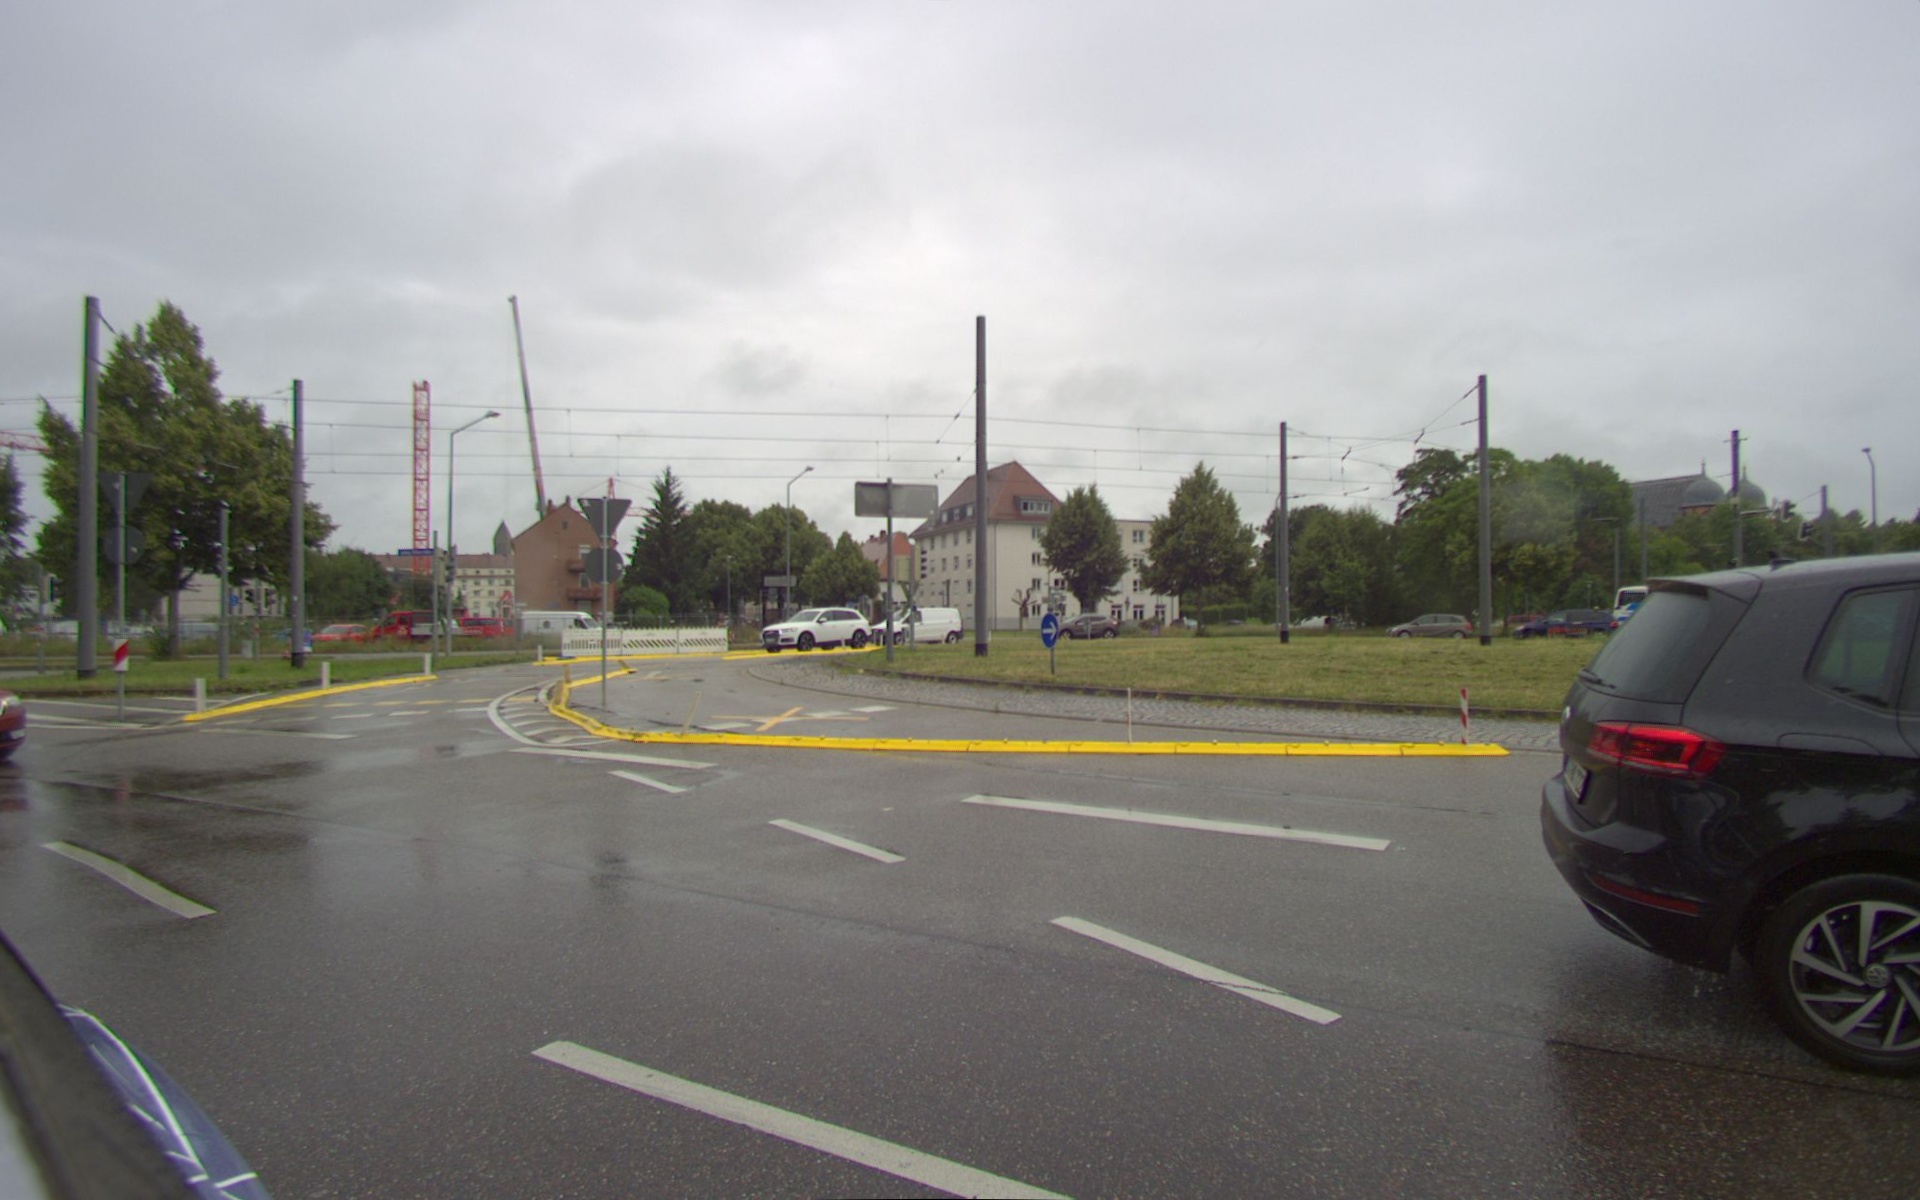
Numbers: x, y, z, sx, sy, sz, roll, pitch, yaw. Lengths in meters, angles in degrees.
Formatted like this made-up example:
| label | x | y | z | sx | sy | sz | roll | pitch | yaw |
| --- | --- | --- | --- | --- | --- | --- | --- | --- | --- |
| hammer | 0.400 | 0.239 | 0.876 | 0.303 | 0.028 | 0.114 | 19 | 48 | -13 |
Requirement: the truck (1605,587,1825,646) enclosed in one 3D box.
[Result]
| label | x | y | z | sx | sy | sz | roll | pitch | yaw |
| --- | --- | --- | --- | --- | --- | --- | --- | --- | --- |
| truck | 38.353 | 0.729 | 51.804 | 1.969 | 2.731 | 8.809 | -1 | 1 | -42 |

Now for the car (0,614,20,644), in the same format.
| label | x | y | z | sx | sy | sz | roll | pitch | yaw |
| --- | --- | --- | --- | --- | --- | --- | --- | --- | --- |
| car | -84.752 | 2.466 | 86.156 | 6.731 | 2.495 | 2.505 | 0 | 1 | -6 |

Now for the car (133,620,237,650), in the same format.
| label | x | y | z | sx | sy | sz | roll | pitch | yaw |
| --- | --- | --- | --- | --- | --- | --- | --- | --- | --- |
| car | -67.130 | 3.013 | 87.811 | 6.720 | 2.495 | 2.364 | 0 | -1 | -16 |

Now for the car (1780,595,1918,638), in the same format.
| label | x | y | z | sx | sy | sz | roll | pitch | yaw |
| --- | --- | --- | --- | --- | --- | --- | --- | --- | --- |
| car | 36.832 | 0.644 | 42.005 | 1.760 | 1.660 | 4.010 | -1 | 1 | -36 |

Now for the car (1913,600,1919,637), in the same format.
| label | x | y | z | sx | sy | sz | roll | pitch | yaw |
| --- | --- | --- | --- | --- | --- | --- | --- | --- | --- |
| car | 45.255 | 0.865 | 44.938 | 1.759 | 1.660 | 4.011 | -1 | 1 | -34 |

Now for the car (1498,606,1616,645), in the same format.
| label | x | y | z | sx | sy | sz | roll | pitch | yaw |
| --- | --- | --- | --- | --- | --- | --- | --- | --- | --- |
| car | 28.776 | 1.185 | 48.979 | 4.844 | 1.757 | 1.761 | 0 | 1 | 29 |

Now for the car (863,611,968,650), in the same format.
| label | x | y | z | sx | sy | sz | roll | pitch | yaw |
| --- | --- | --- | --- | --- | --- | --- | --- | --- | --- |
| car | -2.135 | 1.462 | 49.774 | 4.942 | 1.656 | 1.836 | -1 | 1 | -35 |

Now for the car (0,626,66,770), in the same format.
| label | x | y | z | sx | sy | sz | roll | pitch | yaw |
| --- | --- | --- | --- | --- | --- | --- | --- | --- | --- |
| car | -12.135 | 1.043 | 10.922 | 4.278 | 1.470 | 1.779 | 0 | 1 | 18 |

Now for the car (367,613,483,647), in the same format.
| label | x | y | z | sx | sy | sz | roll | pitch | yaw |
| --- | --- | --- | --- | --- | --- | --- | --- | --- | --- |
| car | -33.636 | 1.860 | 63.716 | 6.354 | 2.029 | 2.351 | 0 | 1 | 9 |

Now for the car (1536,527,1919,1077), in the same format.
| label | x | y | z | sx | sy | sz | roll | pitch | yaw |
| --- | --- | --- | --- | --- | --- | --- | --- | --- | --- |
| car | 4.248 | 0.532 | 2.979 | 4.311 | 1.529 | 1.772 | -2 | -1 | 28 |

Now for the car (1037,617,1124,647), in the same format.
| label | x | y | z | sx | sy | sz | roll | pitch | yaw |
| --- | --- | --- | --- | --- | --- | --- | --- | --- | --- |
| car | 6.607 | 1.761 | 55.707 | 4.473 | 1.503 | 1.616 | 0 | 1 | -13 |

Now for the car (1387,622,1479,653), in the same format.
| label | x | y | z | sx | sy | sz | roll | pitch | yaw |
| --- | --- | --- | --- | --- | --- | --- | --- | --- | --- |
| car | 25.950 | 2.046 | 55.690 | 4.519 | 1.503 | 1.599 | 0 | 1 | 23 |

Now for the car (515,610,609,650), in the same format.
| label | x | y | z | sx | sy | sz | roll | pitch | yaw |
| --- | --- | --- | --- | --- | --- | --- | --- | --- | --- |
| car | -30.343 | 2.250 | 77.278 | 6.354 | 2.961 | 2.351 | 0 | 1 | 9 |

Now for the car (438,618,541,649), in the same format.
| label | x | y | z | sx | sy | sz | roll | pitch | yaw |
| --- | --- | --- | --- | --- | --- | --- | --- | --- | --- |
| car | -32.747 | 2.306 | 70.513 | 6.354 | 2.029 | 2.350 | -1 | -1 | 9 |
